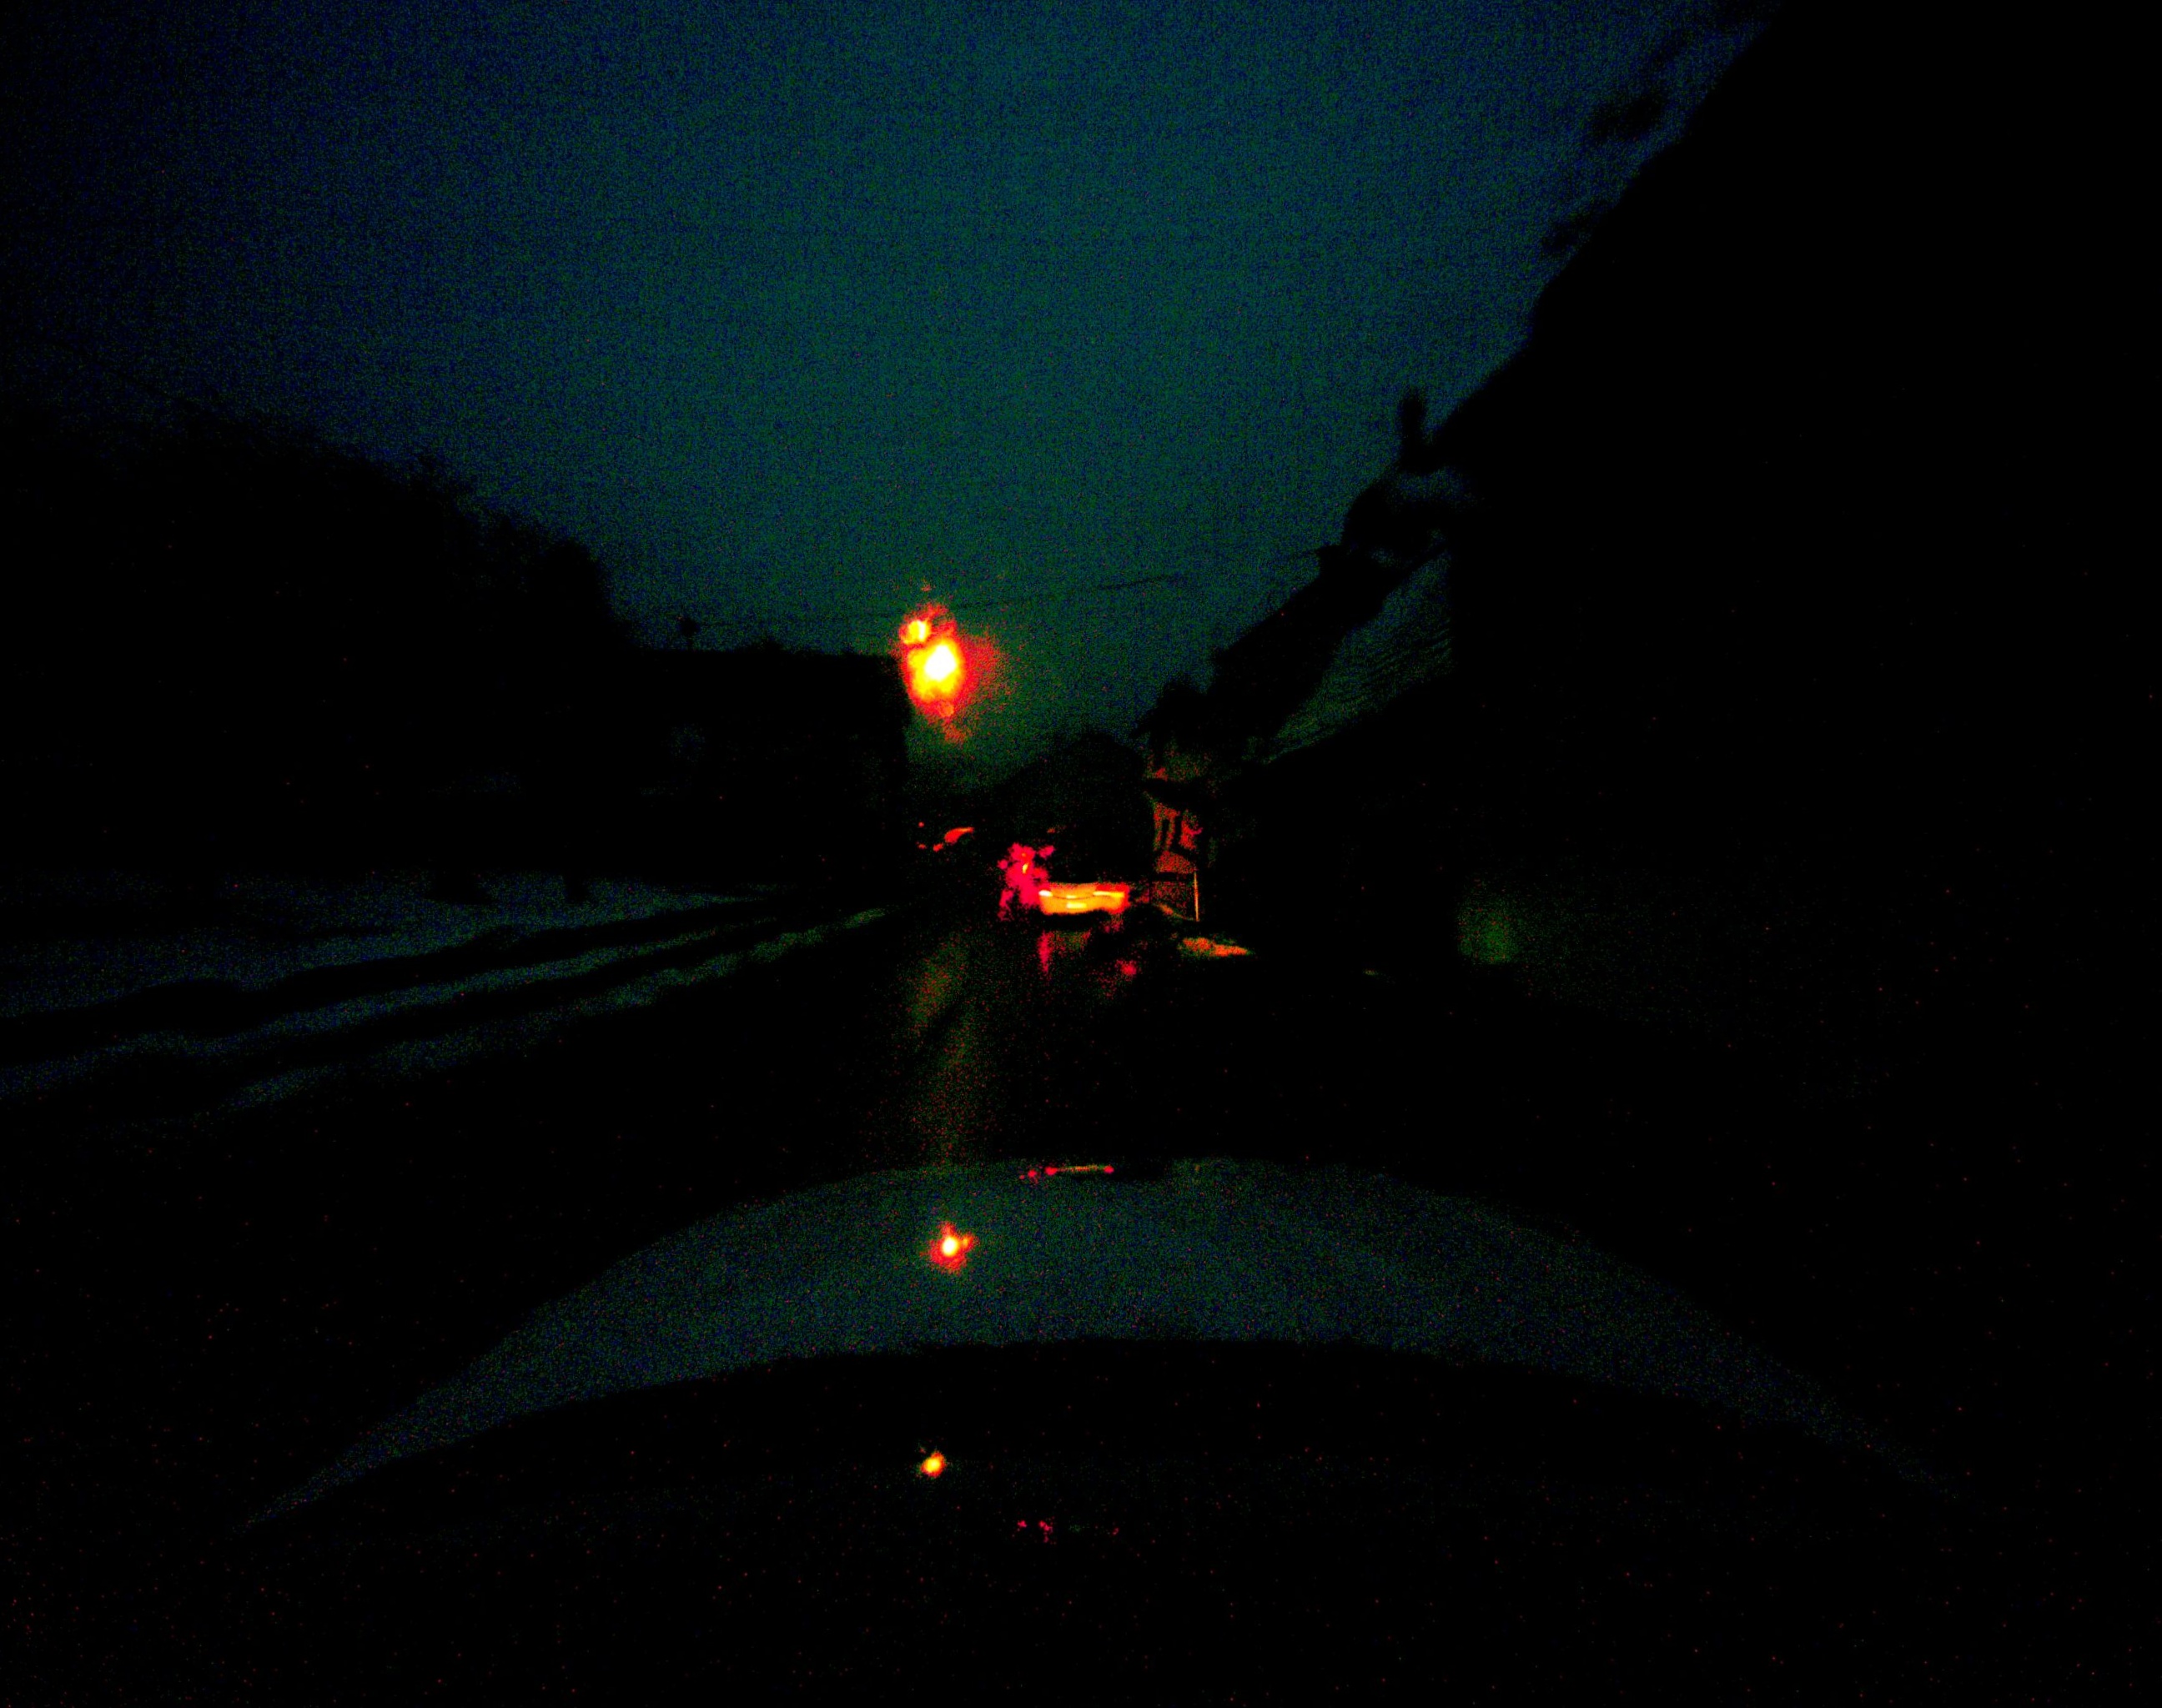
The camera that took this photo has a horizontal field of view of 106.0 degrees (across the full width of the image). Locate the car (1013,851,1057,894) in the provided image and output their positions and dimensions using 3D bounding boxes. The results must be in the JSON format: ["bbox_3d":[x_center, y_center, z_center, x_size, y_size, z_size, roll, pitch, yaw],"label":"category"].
[{"bbox_3d":[-1.871,0.737,32.445,1.642,1.596,3.693,1,-2,-5],"label":"car"}]

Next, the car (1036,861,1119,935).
[{"bbox_3d":[-0.181,1.018,19.645,1.643,1.596,3.691,1,-2,-6],"label":"car"}]
